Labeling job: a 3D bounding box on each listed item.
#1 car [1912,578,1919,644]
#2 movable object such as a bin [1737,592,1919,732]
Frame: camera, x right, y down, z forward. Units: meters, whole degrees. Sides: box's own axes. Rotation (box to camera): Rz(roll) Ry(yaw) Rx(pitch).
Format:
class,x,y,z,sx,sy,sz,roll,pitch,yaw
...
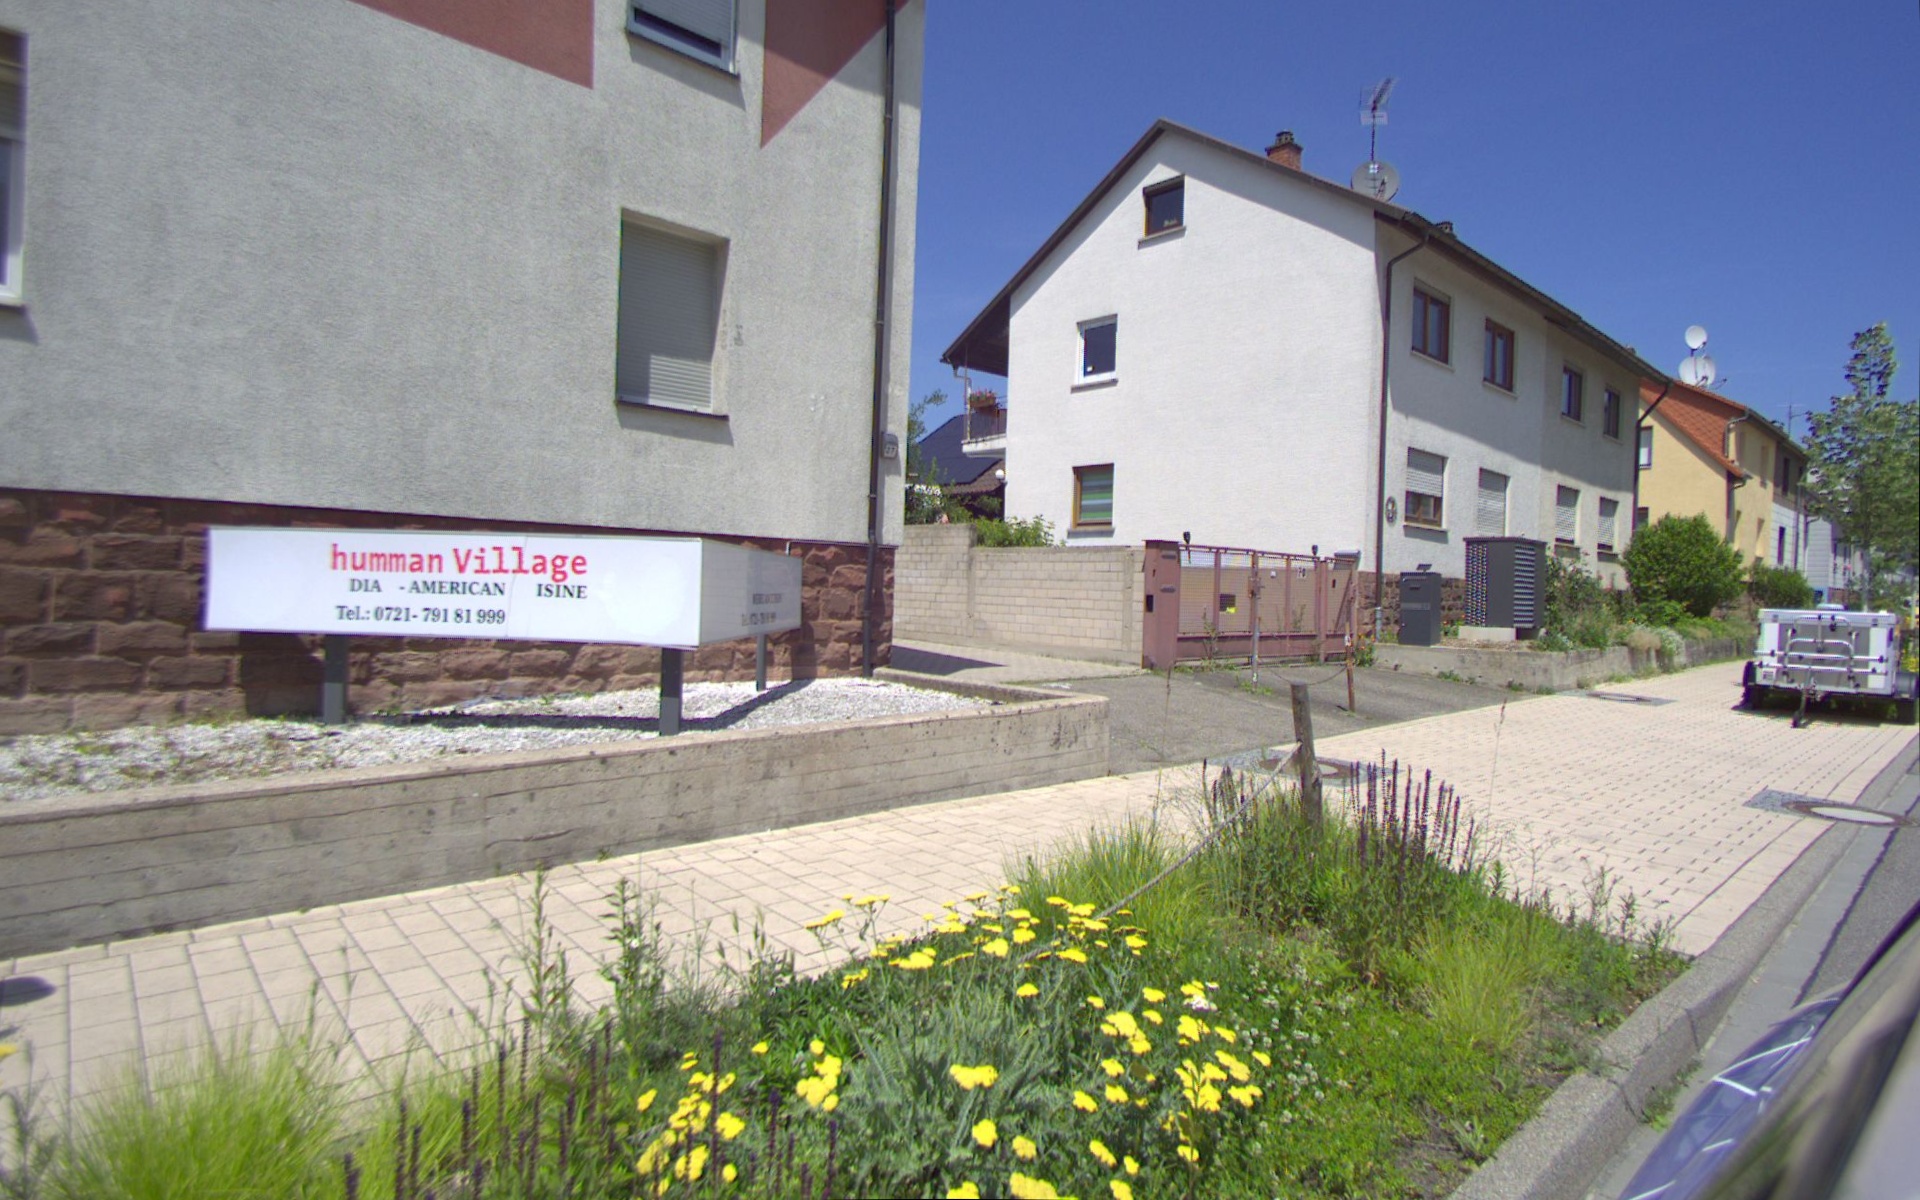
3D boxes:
class,x,y,z,sx,sy,sz,roll,pitch,yaw
car,32.318,0.390,32.466,5.530,2.037,2.193,-1,6,-44
movable object such as a bin,10.938,0.662,12.561,2.991,1.434,1.573,-1,3,-43
